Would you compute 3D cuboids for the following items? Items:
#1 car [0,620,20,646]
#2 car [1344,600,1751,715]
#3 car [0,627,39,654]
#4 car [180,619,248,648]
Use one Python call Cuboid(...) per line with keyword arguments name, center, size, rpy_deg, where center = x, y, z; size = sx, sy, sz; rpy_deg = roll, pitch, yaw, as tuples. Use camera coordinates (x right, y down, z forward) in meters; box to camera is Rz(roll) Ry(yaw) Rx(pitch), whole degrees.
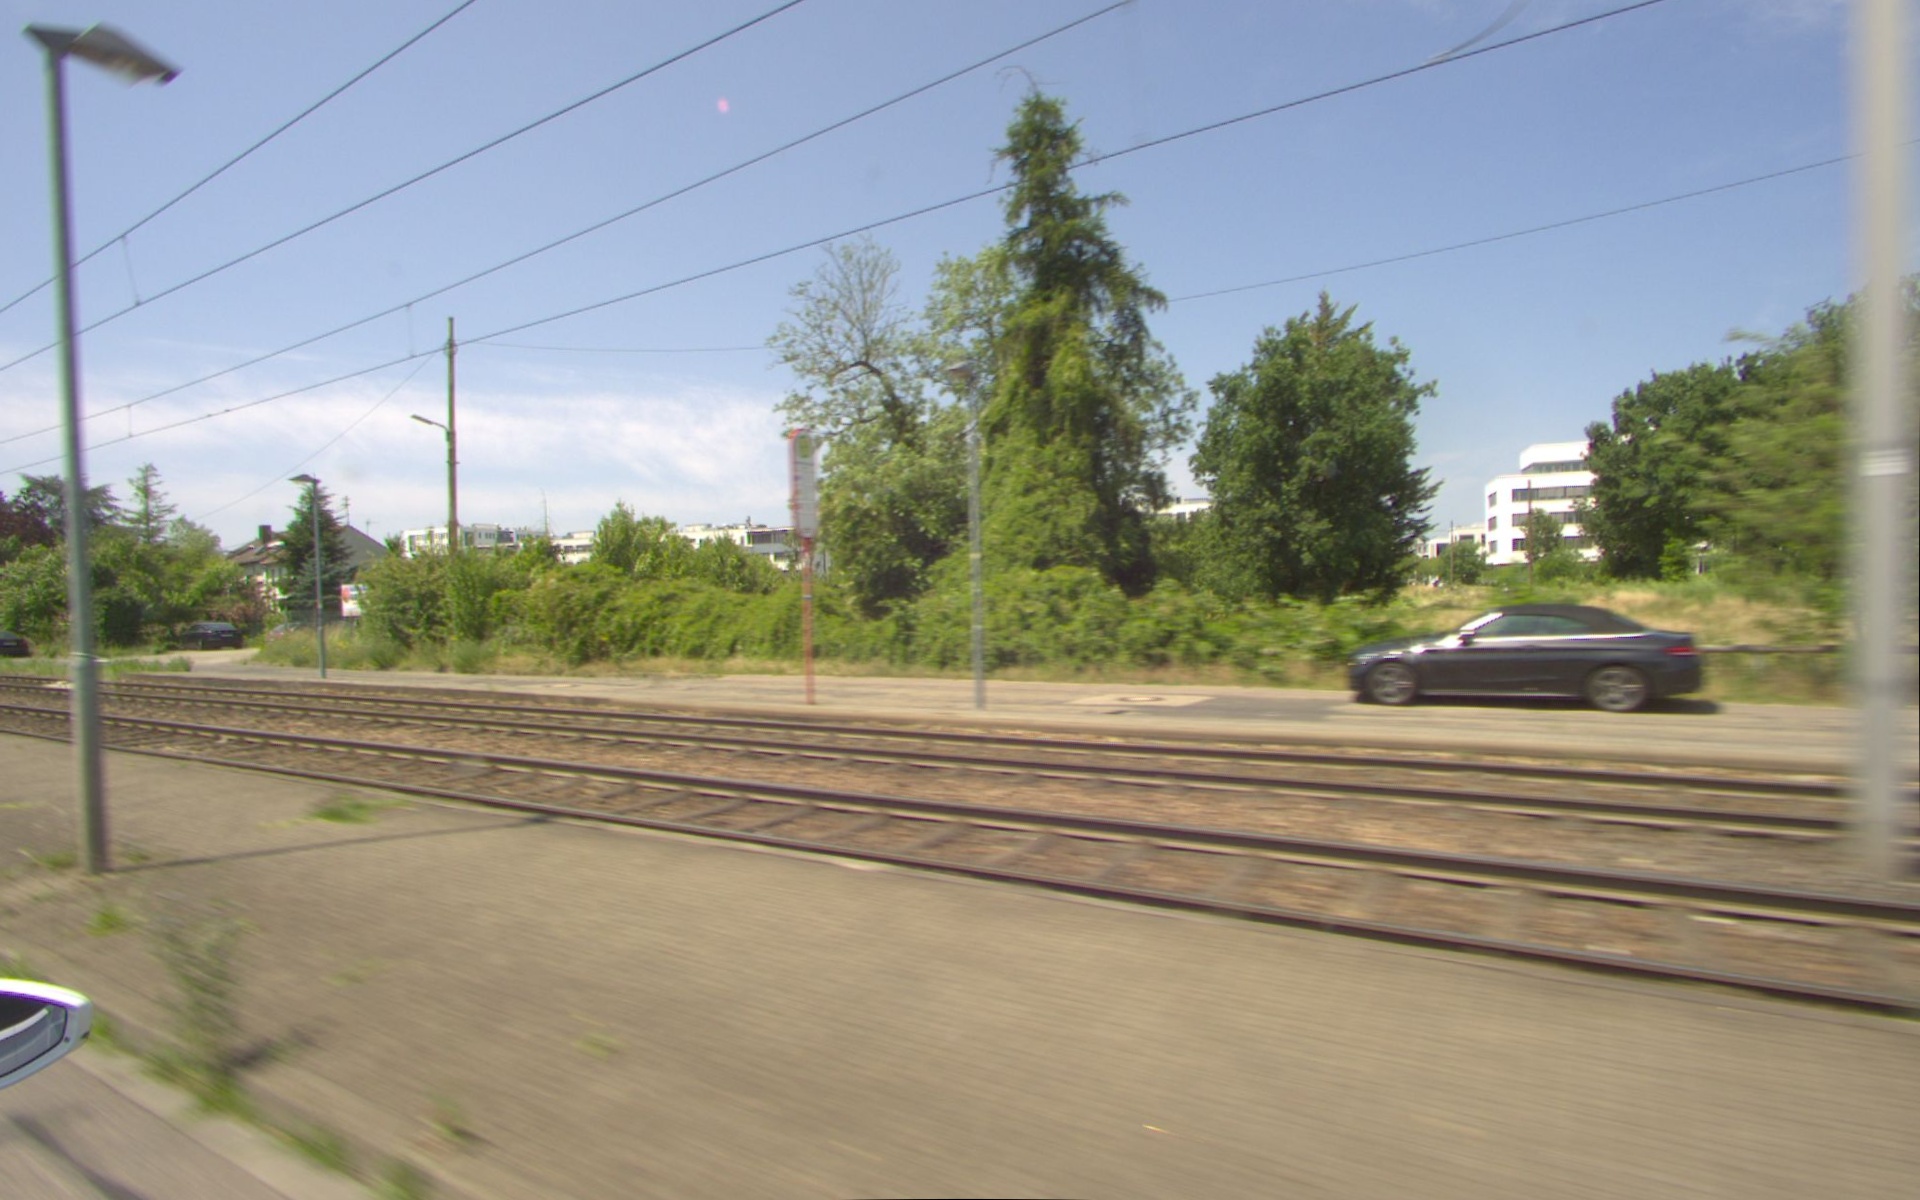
Cuboid(name="car", center=(-59.405, 2.034, 61.160), size=(4.492, 1.581, 1.930), rpy_deg=(-1, -1, 33))
Cuboid(name="car", center=(8.228, 0.772, 14.438), size=(4.803, 1.440, 1.617), rpy_deg=(-1, -1, 32))
Cuboid(name="car", center=(-49.792, 2.109, 52.007), size=(4.452, 1.347, 1.857), rpy_deg=(-1, -1, 33))
Cuboid(name="car", center=(-38.956, 1.727, 52.279), size=(3.687, 1.437, 1.716), rpy_deg=(-1, -1, 33))
